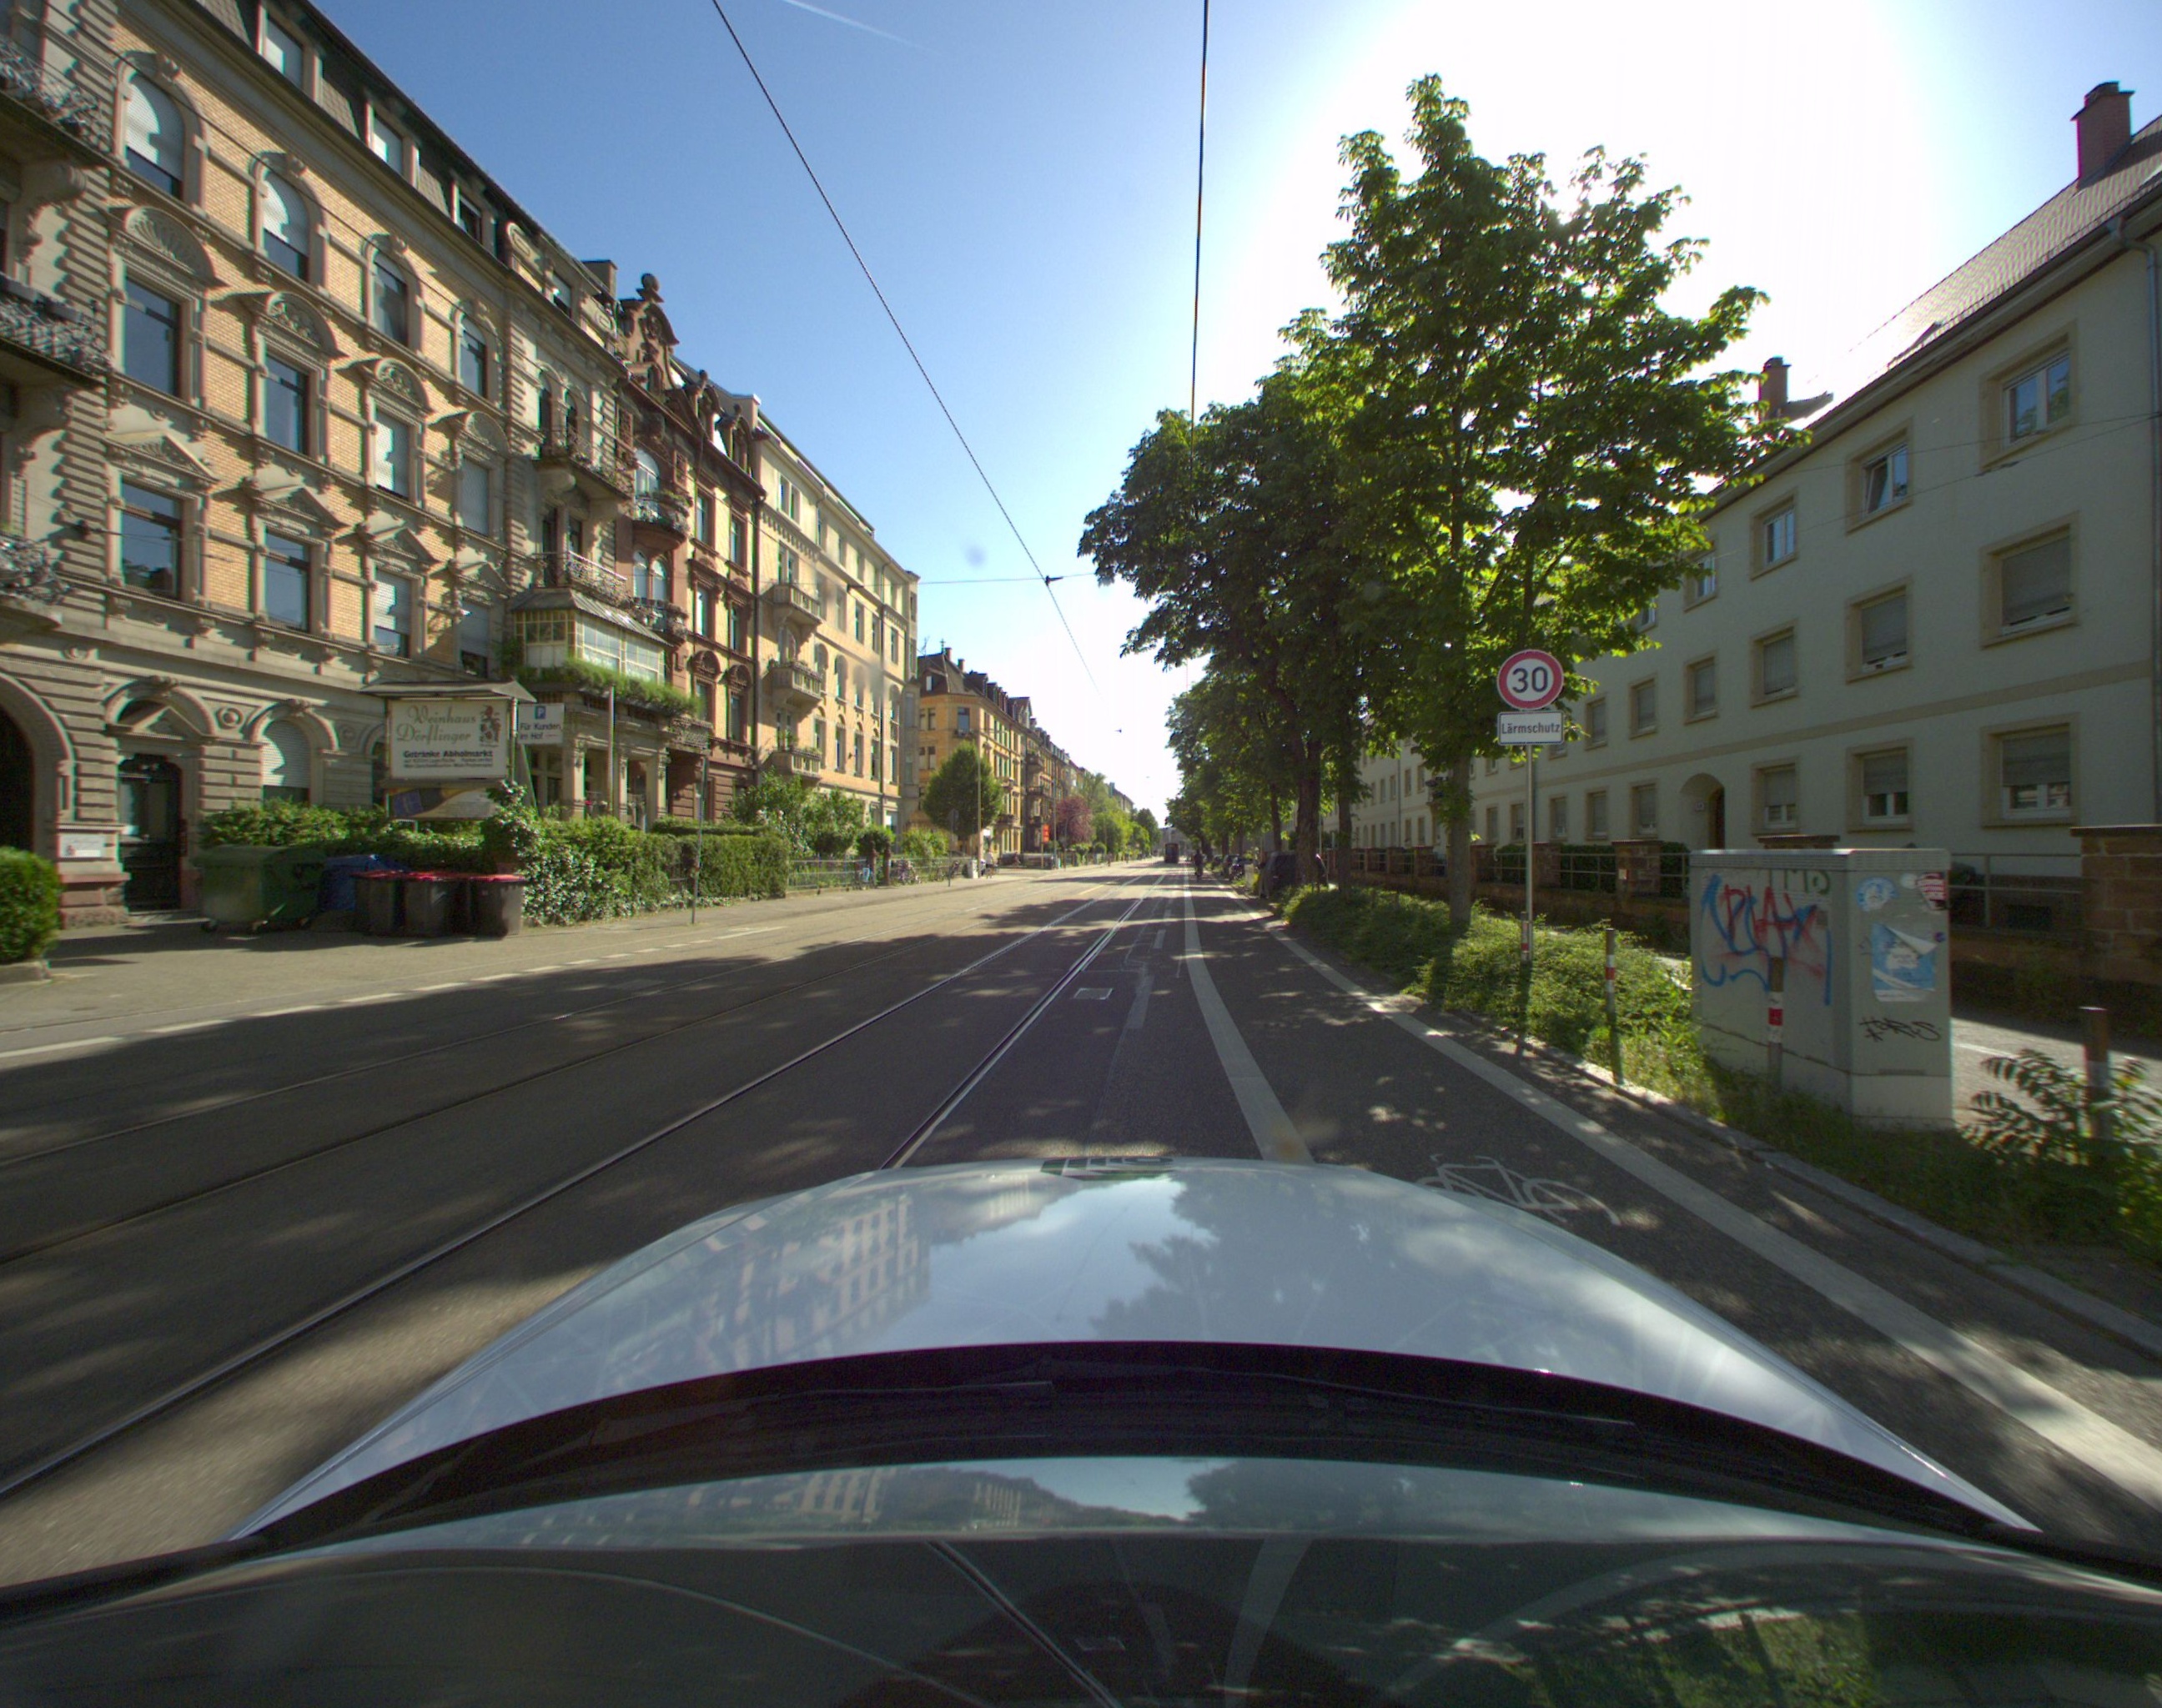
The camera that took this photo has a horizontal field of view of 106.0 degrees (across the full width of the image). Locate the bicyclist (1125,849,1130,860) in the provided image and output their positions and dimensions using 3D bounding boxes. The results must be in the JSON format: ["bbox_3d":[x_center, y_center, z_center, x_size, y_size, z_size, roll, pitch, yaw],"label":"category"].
[{"bbox_3d":[7.464,0.064,131.310,0.657,1.802,0.617,-1,-1,7],"label":"bicyclist"}]

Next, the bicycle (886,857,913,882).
[{"bbox_3d":[-7.866,0.667,35.433,0.560,1.033,1.771,3,0,6],"label":"bicycle"}]

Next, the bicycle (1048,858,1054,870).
[{"bbox_3d":[-2.810,0.918,76.795,0.369,1.126,0.810,2,0,7],"label":"bicycle"}]

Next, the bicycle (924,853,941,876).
[{"bbox_3d":[-7.482,0.540,41.030,0.564,1.033,1.757,5,1,-17],"label":"bicycle"}]

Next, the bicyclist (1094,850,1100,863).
[{"bbox_3d":[2.270,0.414,115.104,0.642,1.795,0.957,2,0,7],"label":"bicyclist"}]

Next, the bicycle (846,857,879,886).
[{"bbox_3d":[-8.474,0.662,31.630,0.560,1.033,1.771,3,1,8],"label":"bicycle"}]

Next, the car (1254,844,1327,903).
[{"bbox_3d":[6.972,0.591,27.528,1.735,1.766,4.486,2,0,6],"label":"car"}]

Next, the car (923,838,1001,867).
[{"bbox_3d":[-7.533,-0.078,51.655,4.419,1.643,1.972,2,0,9],"label":"car"}]

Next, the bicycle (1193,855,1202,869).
[{"bbox_3d":[9.538,0.649,66.596,0.688,1.112,1.921,2,0,7],"label":"bicycle"}]

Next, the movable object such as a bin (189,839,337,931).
[{"bbox_3d":[-13.940,0.505,13.922,1.312,1.447,1.173,2,0,8],"label":"movable object such as a bin"}]

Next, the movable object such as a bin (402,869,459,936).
[{"bbox_3d":[-11.120,0.818,13.937,0.476,1.086,0.542,2,0,8],"label":"movable object such as a bin"}]

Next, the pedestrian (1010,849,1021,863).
[{"bbox_3d":[-6.230,0.185,77.631,0.896,1.352,0.578,-1,-1,8],"label":"pedestrian"}]

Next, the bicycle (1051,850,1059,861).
[{"bbox_3d":[-2.478,0.163,77.714,0.333,1.001,1.873,2,0,7],"label":"bicycle"}]

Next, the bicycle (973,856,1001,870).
[{"bbox_3d":[-6.529,0.626,56.707,1.793,0.914,0.615,2,-2,-29],"label":"bicycle"}]

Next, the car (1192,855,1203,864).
[{"bbox_3d":[18.796,0.800,131.703,1.739,1.420,4.007,0,0,7],"label":"car"}]

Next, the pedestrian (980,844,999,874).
[{"bbox_3d":[-5.348,0.285,47.767,0.825,1.724,1.083,2,-1,4],"label":"pedestrian"}]

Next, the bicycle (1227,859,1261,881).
[{"bbox_3d":[8.782,0.848,43.888,1.751,1.078,0.434,3,0,8],"label":"bicycle"}]

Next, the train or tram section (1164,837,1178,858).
[{"bbox_3d":[15.448,-1.054,138.924,2.142,3.431,6.624,2,0,7],"label":"train or tram section"}]

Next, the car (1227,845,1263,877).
[{"bbox_3d":[9.522,0.377,47.417,1.657,1.761,4.238,1,0,6],"label":"car"}]

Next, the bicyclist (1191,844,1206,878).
[{"bbox_3d":[6.557,0.364,45.485,0.724,1.848,0.838,2,0,6],"label":"bicyclist"}]

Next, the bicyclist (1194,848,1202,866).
[{"bbox_3d":[9.547,0.246,66.447,0.632,1.468,0.617,2,0,7],"label":"bicyclist"}]

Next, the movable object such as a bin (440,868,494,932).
[{"bbox_3d":[-10.942,0.809,14.521,0.476,1.086,0.542,2,0,8],"label":"movable object such as a bin"}]

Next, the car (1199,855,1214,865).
[{"bbox_3d":[17.339,0.801,112.381,1.621,1.436,4.670,0,0,4],"label":"car"}]

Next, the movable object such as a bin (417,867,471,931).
[{"bbox_3d":[-11.432,0.794,14.618,0.476,1.086,0.542,2,0,8],"label":"movable object such as a bin"}]

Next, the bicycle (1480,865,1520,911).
[{"bbox_3d":[12.019,0.943,23.389,0.445,1.238,1.678,0,0,6],"label":"bicycle"}]

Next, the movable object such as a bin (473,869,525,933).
[{"bbox_3d":[-10.367,0.820,14.517,0.476,1.086,0.542,2,0,8],"label":"movable object such as a bin"}]

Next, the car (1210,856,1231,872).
[{"bbox_3d":[13.286,0.891,77.764,1.777,1.464,4.052,1,0,7],"label":"car"}]

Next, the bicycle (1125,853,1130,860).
[{"bbox_3d":[7.447,0.438,131.292,0.688,1.112,1.722,0,0,7],"label":"bicycle"}]

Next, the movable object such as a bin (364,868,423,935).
[{"bbox_3d":[-11.713,0.803,13.881,0.476,1.086,0.542,2,0,8],"label":"movable object such as a bin"}]

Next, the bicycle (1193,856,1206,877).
[{"bbox_3d":[6.619,0.713,45.573,0.688,1.112,1.722,2,0,7],"label":"bicycle"}]

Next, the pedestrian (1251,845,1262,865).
[{"bbox_3d":[15.476,0.080,71.854,0.755,1.724,0.583,2,0,36],"label":"pedestrian"}]

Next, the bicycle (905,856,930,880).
[{"bbox_3d":[-7.480,0.626,37.381,0.560,1.033,1.771,3,0,6],"label":"bicycle"}]

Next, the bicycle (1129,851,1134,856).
[{"bbox_3d":[10.682,-0.131,170.784,0.632,1.069,1.826,2,0,-10],"label":"bicycle"}]

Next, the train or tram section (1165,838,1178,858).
[{"bbox_3d":[16.235,-1.067,145.546,2.142,3.431,6.624,2,0,7],"label":"train or tram section"}]

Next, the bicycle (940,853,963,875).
[{"bbox_3d":[-6.784,0.511,42.684,0.566,1.033,1.751,2,2,-29],"label":"bicycle"}]

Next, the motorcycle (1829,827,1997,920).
[{"bbox_3d":[14.639,0.320,14.445,0.802,1.487,2.262,2,0,6],"label":"motorcycle"}]

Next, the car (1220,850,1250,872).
[{"bbox_3d":[10.760,0.470,57.226,1.711,1.473,4.253,0,0,6],"label":"car"}]

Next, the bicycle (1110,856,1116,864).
[{"bbox_3d":[3.896,0.741,99.297,0.458,0.926,2.207,0,0,7],"label":"bicycle"}]
